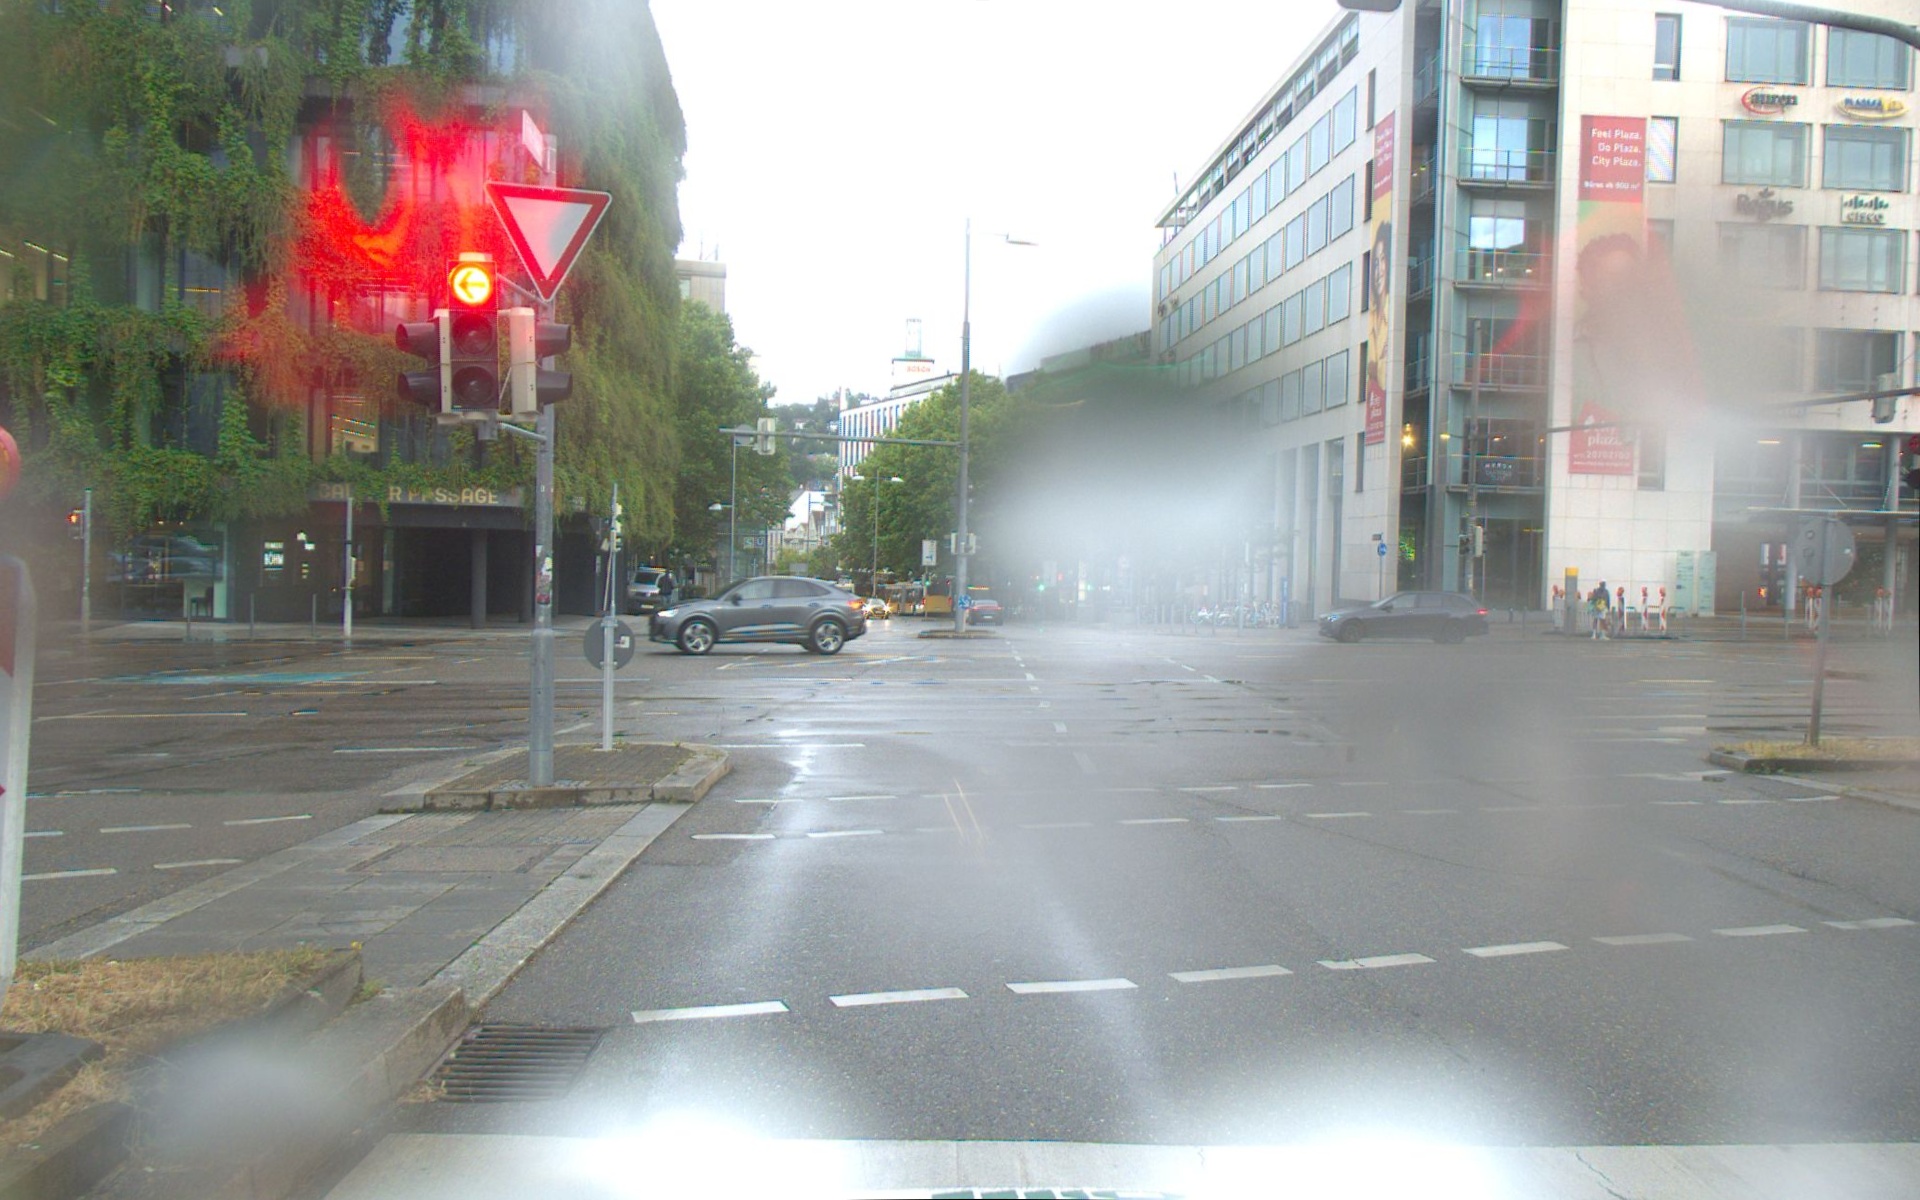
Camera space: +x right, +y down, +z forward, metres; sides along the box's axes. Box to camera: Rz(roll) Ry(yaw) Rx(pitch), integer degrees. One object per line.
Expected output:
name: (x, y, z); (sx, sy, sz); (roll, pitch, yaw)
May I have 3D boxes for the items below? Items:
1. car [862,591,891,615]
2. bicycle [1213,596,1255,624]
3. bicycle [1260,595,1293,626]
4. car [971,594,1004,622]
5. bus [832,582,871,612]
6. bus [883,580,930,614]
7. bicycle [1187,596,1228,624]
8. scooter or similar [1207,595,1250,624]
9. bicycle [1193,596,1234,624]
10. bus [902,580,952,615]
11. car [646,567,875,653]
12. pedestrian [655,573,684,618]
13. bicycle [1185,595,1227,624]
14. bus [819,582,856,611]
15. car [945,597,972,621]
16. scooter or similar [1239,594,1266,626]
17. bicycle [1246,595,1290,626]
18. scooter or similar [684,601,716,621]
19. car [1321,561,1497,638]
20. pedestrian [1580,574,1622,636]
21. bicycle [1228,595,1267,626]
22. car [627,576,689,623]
car: (-6.293, 0.244, 124.760); (2.121, 1.796, 5.108); (0, 0, -4)
bicycle: (11.887, 0.436, 71.786); (1.741, 1.215, 0.586); (1, -1, 1)
bicycle: (12.855, 0.434, 67.148); (0.575, 1.215, 1.776); (1, -1, 37)
car: (1.580, 0.461, 96.580); (1.745, 1.534, 3.999); (1, 0, -1)
bus: (-11.356, -0.308, 173.070); (2.585, 3.048, 7.296); (0, 0, -16)
bus: (-4.978, -0.279, 153.021); (2.585, 3.048, 7.417); (0, 0, -16)
bicycle: (11.000, 0.428, 73.576); (1.741, 1.215, 0.586); (1, -1, 1)
scooter or similar: (11.543, 0.428, 71.158); (1.741, 1.215, 0.586); (1, -1, 1)
bicycle: (11.417, 0.440, 74.499); (1.741, 1.215, 0.586); (1, -1, 1)
bus: (-2.981, -0.233, 145.905); (2.585, 3.048, 7.417); (0, 0, -16)
car: (-4.095, 0.217, 33.745); (4.402, 1.637, 1.823); (1, 0, -17)
pedestrian: (-10.967, -0.149, 62.464); (0.915, 1.673, 0.774); (1, -1, -1)
bicycle: (10.857, 0.423, 72.939); (1.741, 1.215, 0.586); (1, -1, 1)
bus: (-13.354, -0.374, 180.136); (2.585, 3.048, 7.417); (0, 0, -16)
car: (-0.122, 0.577, 109.512); (1.745, 1.534, 3.999); (1, 0, -1)
scooter or similar: (11.381, 0.396, 64.332); (0.946, 1.215, 0.453); (1, -1, 40)
bicycle: (12.117, 0.412, 65.028); (1.590, 1.215, 0.586); (1, -1, 25)
scooter or similar: (-12.940, 0.542, 82.346); (0.612, 1.022, 1.653); (1, 0, 37)
car: (12.544, -0.010, 46.408); (4.554, 2.049, 1.550); (1, 0, 5)
pedestrian: (19.380, 0.157, 50.014); (0.942, 1.848, 0.836); (1, -1, -1)
bicycle: (11.580, 0.409, 66.572); (0.578, 1.215, 1.766); (1, 0, -28)
car: (-12.394, -0.018, 68.146); (1.832, 1.871, 3.999); (1, 0, -1)
